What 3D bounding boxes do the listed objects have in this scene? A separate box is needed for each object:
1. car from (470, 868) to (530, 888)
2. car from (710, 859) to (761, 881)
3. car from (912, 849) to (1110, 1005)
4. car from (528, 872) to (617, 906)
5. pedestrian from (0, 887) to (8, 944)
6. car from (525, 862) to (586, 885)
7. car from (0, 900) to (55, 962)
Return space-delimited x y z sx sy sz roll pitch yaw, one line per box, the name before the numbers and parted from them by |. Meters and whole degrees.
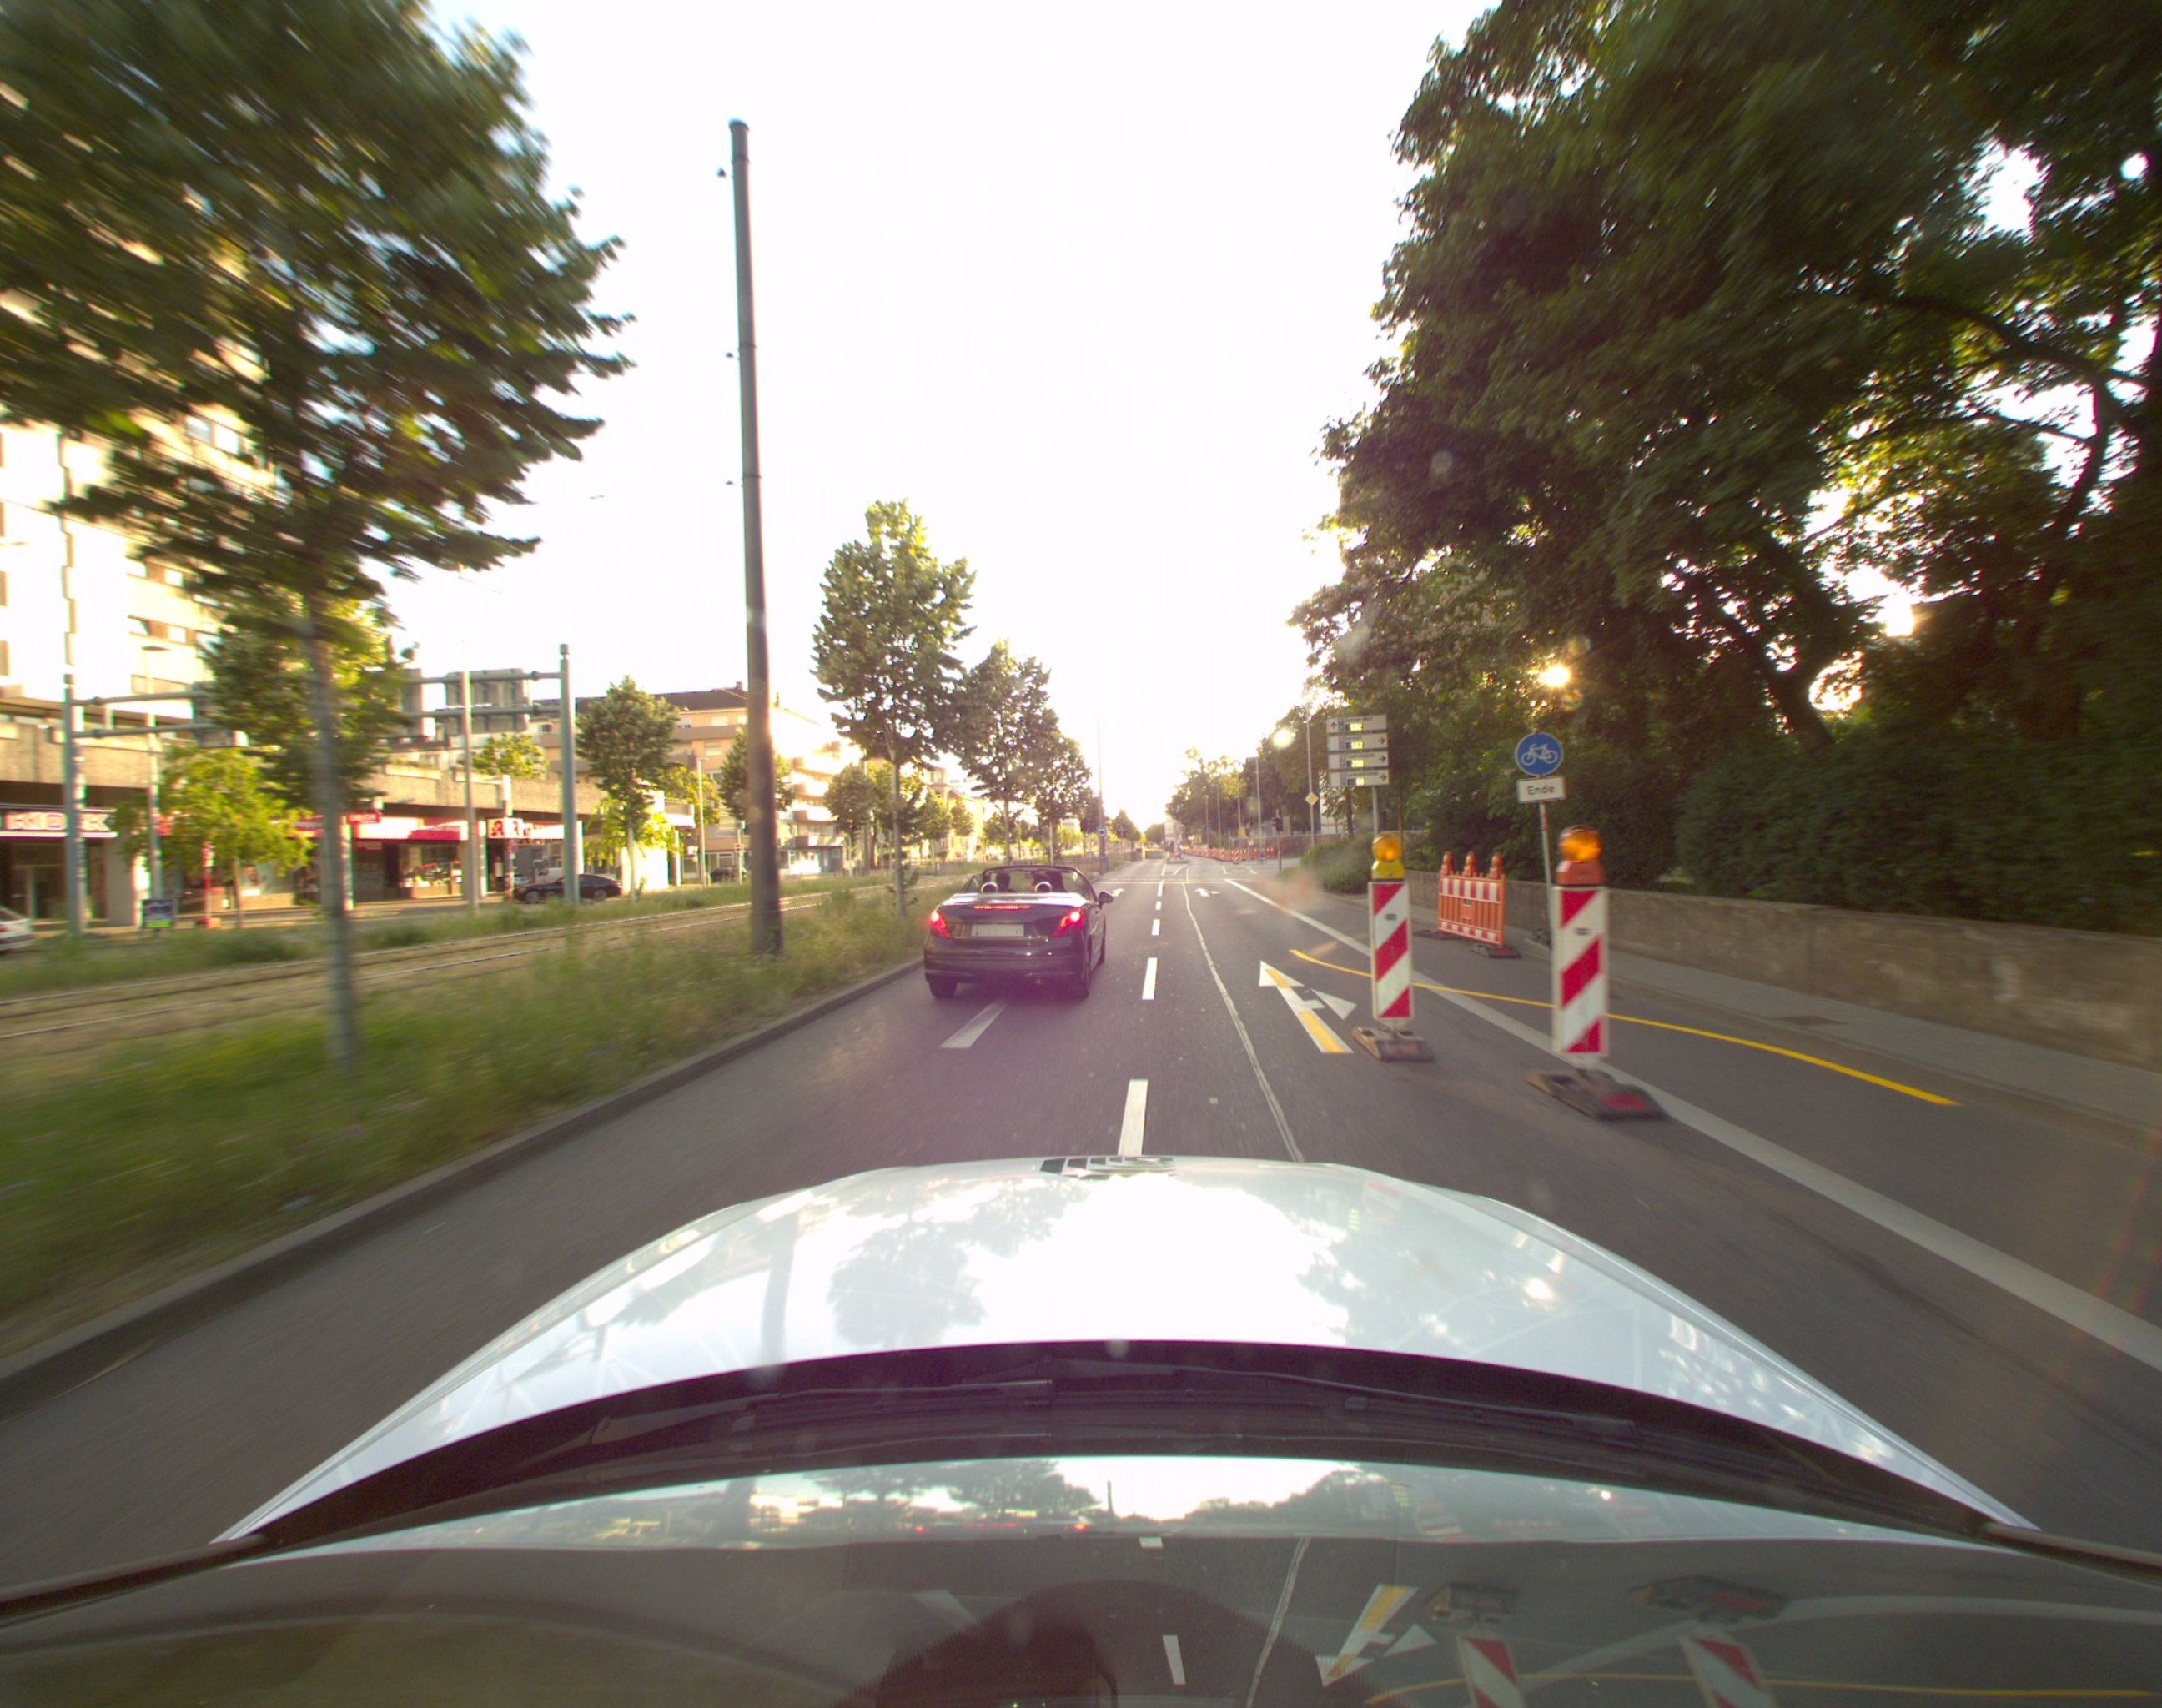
car | -56.369 2.307 79.102 4.308 1.755 2.119 -2 0 4
car | -33.331 1.540 78.659 3.915 1.845 2.194 -2 0 5
car | -0.611 0.697 9.837 1.710 1.449 3.907 -1 1 5
car | -26.034 1.761 41.745 3.747 1.450 1.725 -3 0 -36
pedestrian | -32.181 1.821 23.858 0.660 1.661 0.662 0 0 6
car | -50.723 1.898 78.588 4.466 1.990 2.169 -2 0 4
car | -28.734 1.976 19.911 4.147 1.436 1.806 -1 1 -33
